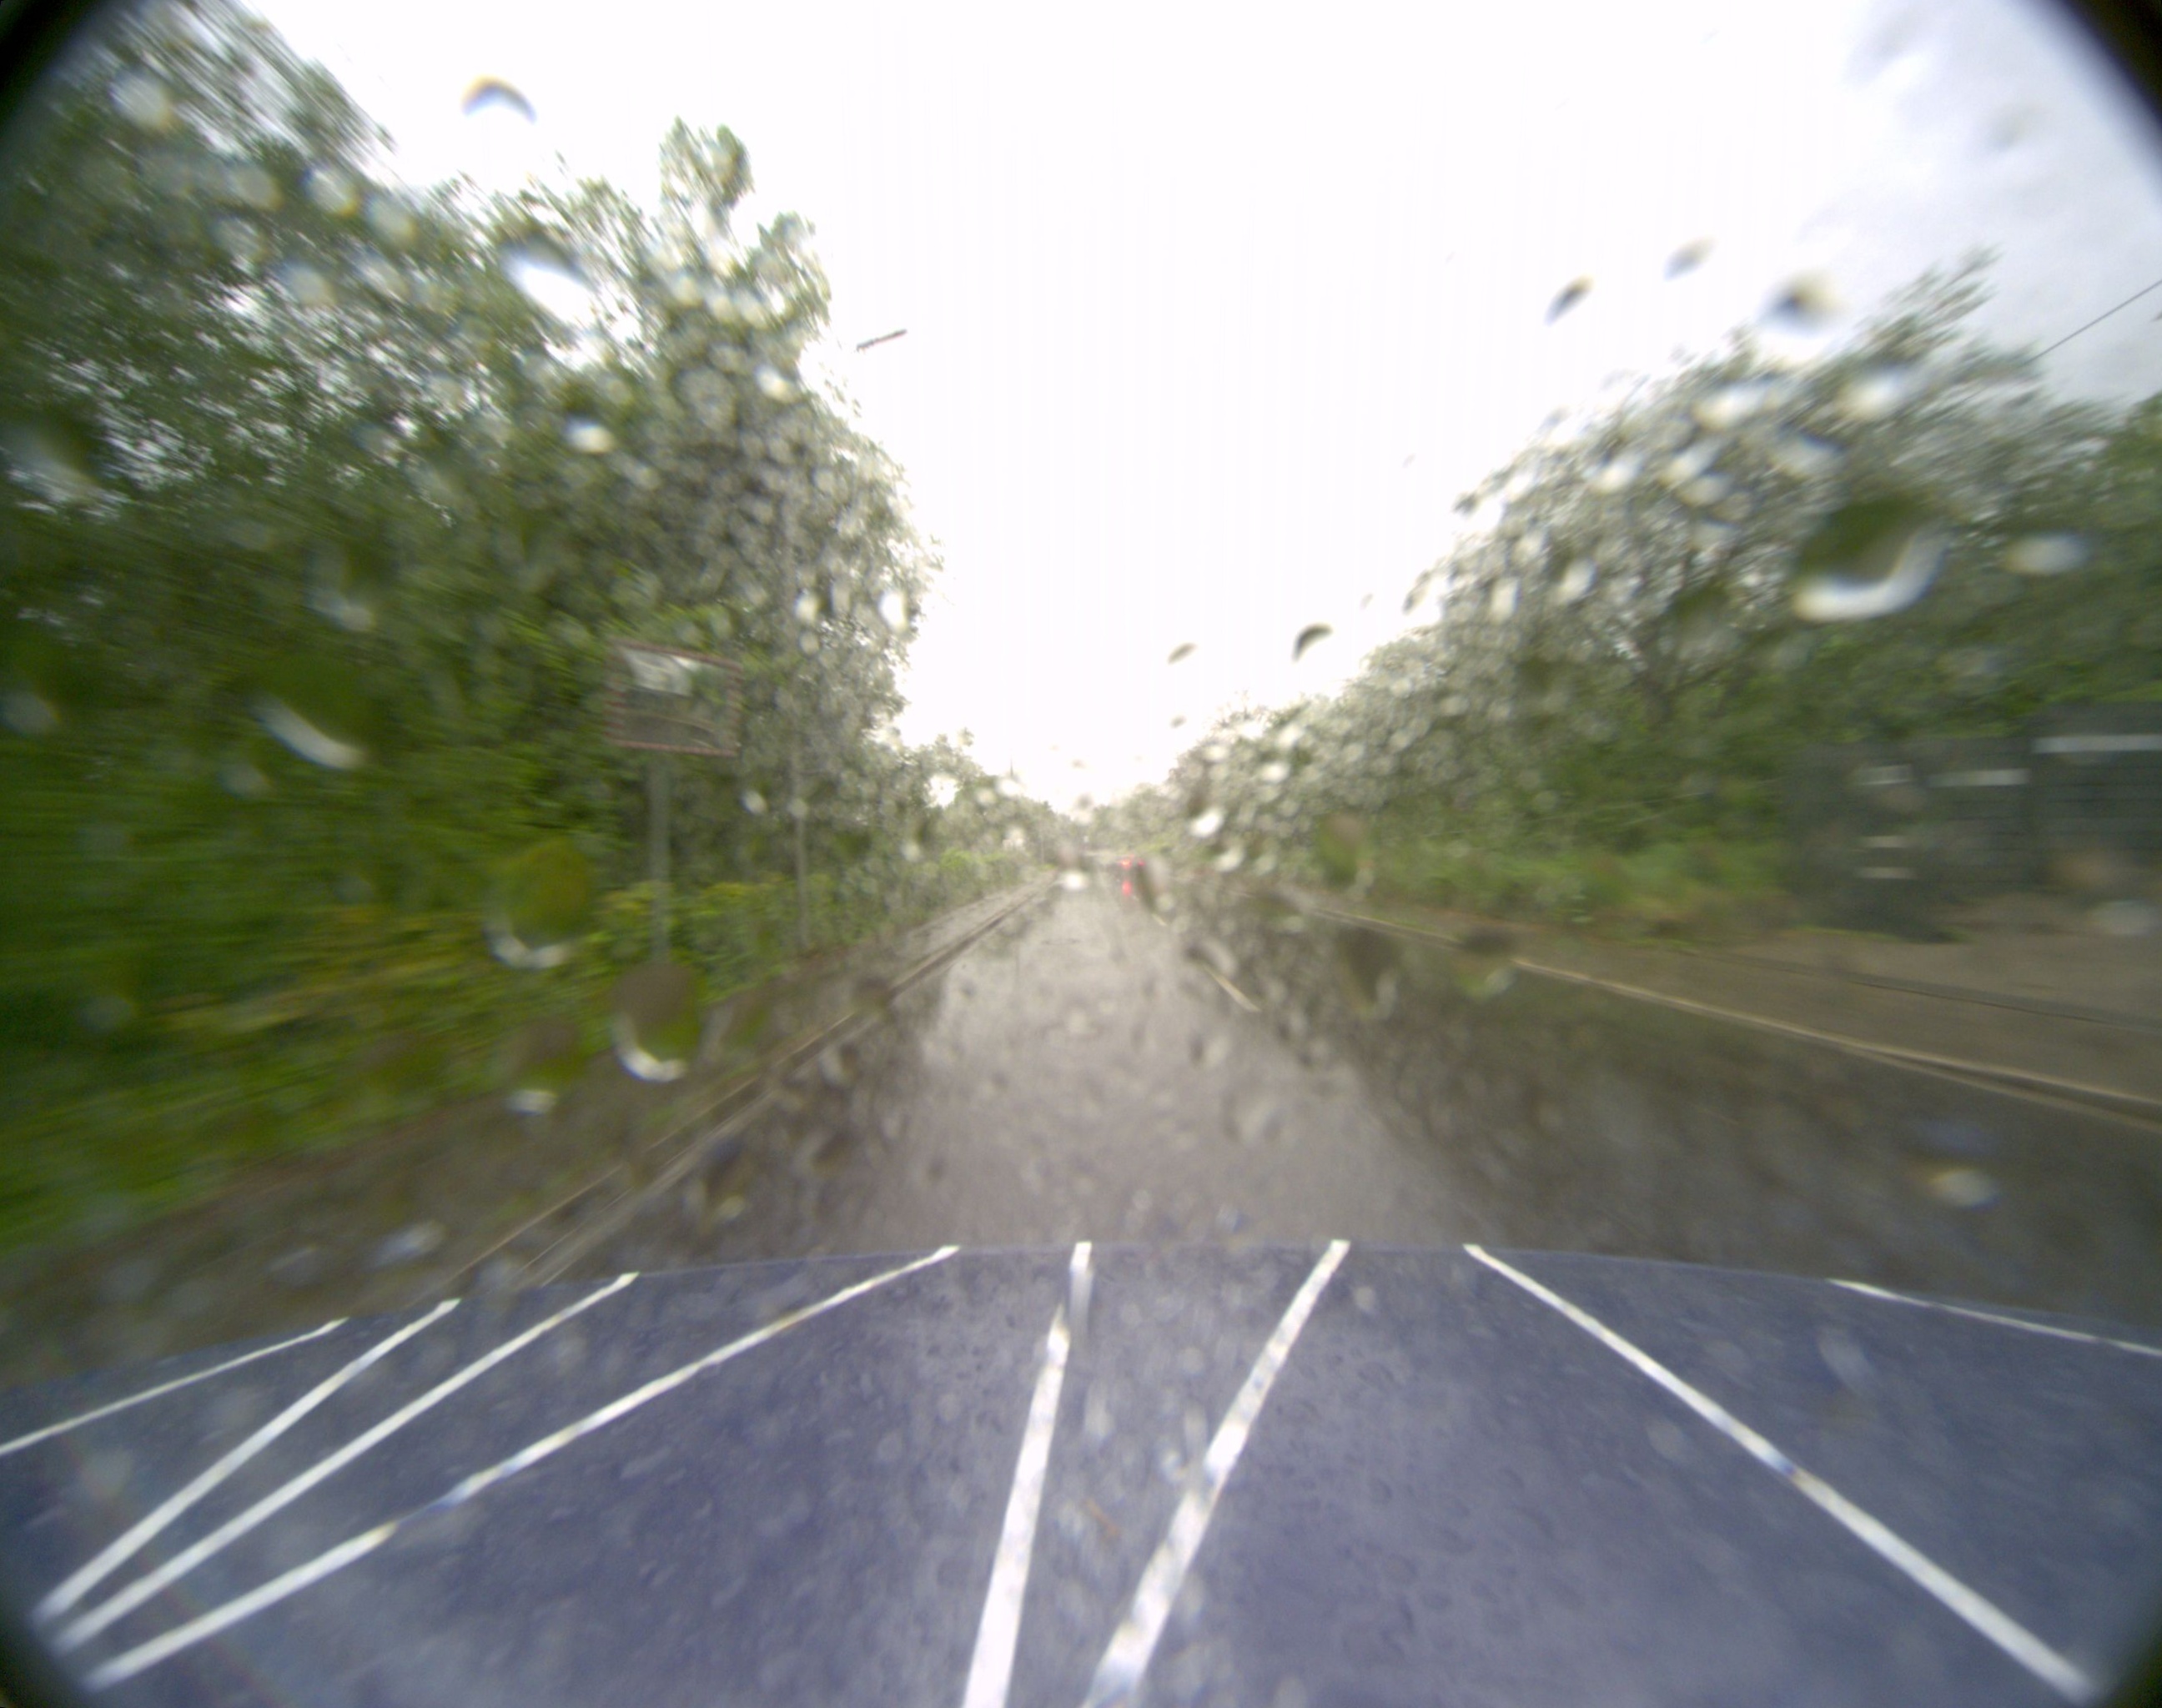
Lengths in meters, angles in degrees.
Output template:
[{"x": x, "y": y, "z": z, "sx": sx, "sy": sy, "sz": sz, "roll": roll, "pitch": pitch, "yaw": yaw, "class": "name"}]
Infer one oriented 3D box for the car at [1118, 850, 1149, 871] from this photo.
[{"x": 3.838, "y": 0.485, "z": 56.310, "sx": 1.998, "sy": 1.445, "sz": 4.428, "roll": -2, "pitch": 0, "yaw": 1, "class": "car"}]
